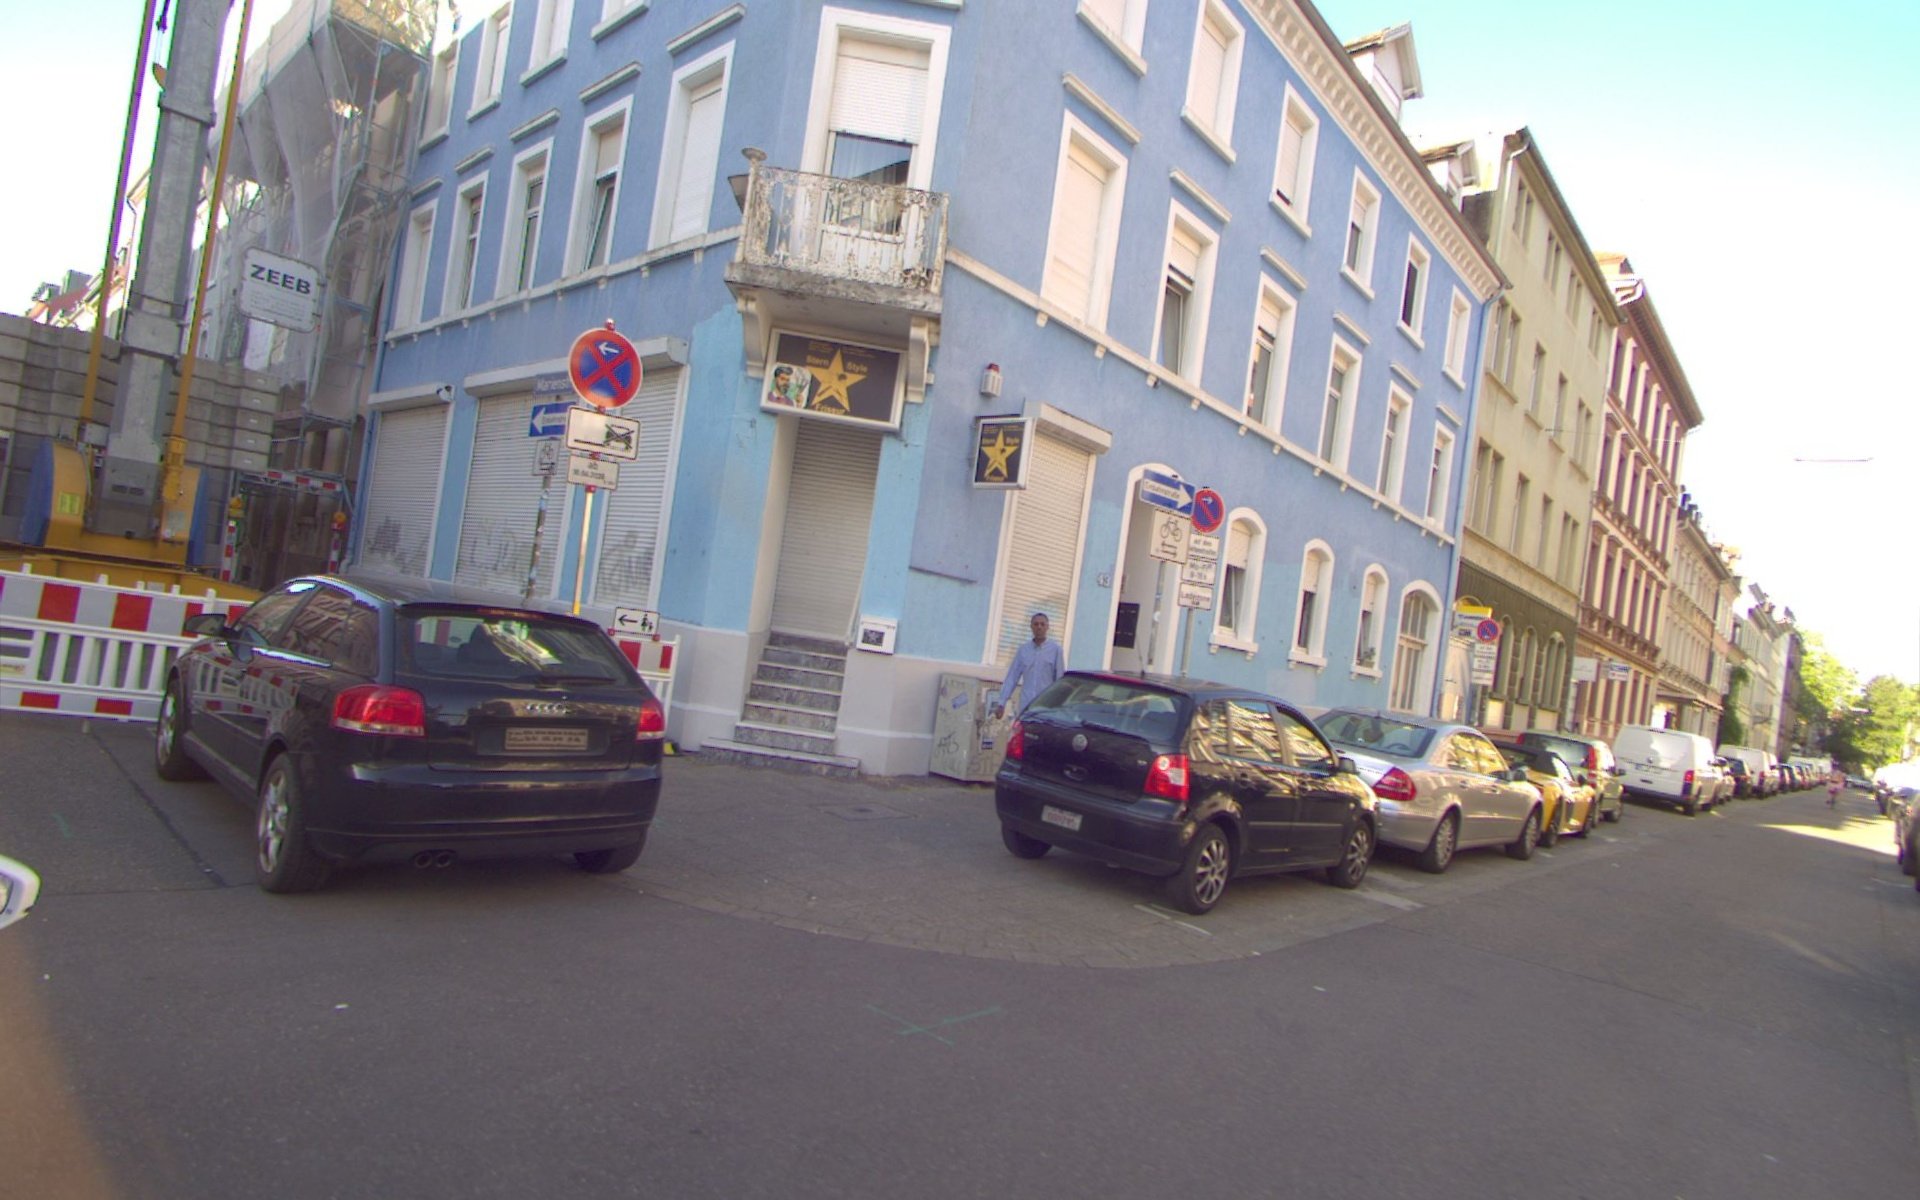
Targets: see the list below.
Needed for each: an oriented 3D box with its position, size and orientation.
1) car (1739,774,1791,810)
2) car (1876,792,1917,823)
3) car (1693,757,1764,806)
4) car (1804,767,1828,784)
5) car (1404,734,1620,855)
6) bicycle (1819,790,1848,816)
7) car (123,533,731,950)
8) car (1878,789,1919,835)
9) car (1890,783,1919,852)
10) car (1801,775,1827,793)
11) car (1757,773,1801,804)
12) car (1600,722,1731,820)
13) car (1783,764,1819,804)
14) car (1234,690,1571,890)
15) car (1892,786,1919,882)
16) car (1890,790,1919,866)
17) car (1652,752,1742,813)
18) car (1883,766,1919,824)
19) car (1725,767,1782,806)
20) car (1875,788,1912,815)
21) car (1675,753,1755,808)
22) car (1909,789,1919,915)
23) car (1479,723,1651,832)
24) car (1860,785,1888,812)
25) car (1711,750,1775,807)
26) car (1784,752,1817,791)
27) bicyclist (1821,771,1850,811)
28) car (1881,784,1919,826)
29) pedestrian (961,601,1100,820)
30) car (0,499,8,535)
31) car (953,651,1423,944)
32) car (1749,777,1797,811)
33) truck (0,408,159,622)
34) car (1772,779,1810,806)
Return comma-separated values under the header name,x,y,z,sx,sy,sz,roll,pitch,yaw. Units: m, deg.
name,x,y,z,sx,sy,sz,roll,pitch,yaw
car,41.379,9.829,51.672,1.729,1.528,3.900,3,-6,43
car,56.609,12.510,60.852,1.729,1.528,3.900,3,-6,43
car,29.443,6.942,38.511,1.729,1.569,3.900,3,-6,43
car,89.822,18.418,105.541,1.729,1.528,3.900,3,-6,43
car,8.210,2.809,14.777,1.733,1.241,4.147,6,-3,43
bicycle,36.069,8.369,41.529,0.804,0.912,2.161,7,-4,42
car,-3.312,0.572,5.861,3.979,1.450,1.771,7,-3,43
car,37.132,8.313,39.336,1.729,1.528,3.900,3,-6,43
car,23.936,5.374,24.550,1.729,1.528,3.900,3,-6,43
car,86.485,18.599,101.864,1.729,1.528,3.900,3,-6,43
car,49.202,11.288,60.393,1.729,1.528,3.900,3,-6,43
car,17.879,4.325,25.396,1.812,1.968,4.532,8,-2,45
car,60.691,13.272,72.562,1.729,2.603,3.900,3,-5,43
car,4.971,2.009,10.928,1.734,1.450,4.464,9,-1,45
car,17.673,4.187,17.740,1.729,1.528,3.900,3,-6,43
car,21.148,4.936,21.557,1.729,1.468,3.900,3,-6,43
car,22.604,5.567,30.784,1.729,1.528,3.900,3,-6,43
car,45.113,9.264,47.762,1.822,2.457,3.900,3,-6,43
car,37.163,8.709,47.074,1.729,1.528,3.900,3,-6,43
car,63.849,13.761,68.817,1.729,1.528,3.900,3,-6,43
car,25.827,6.155,34.369,1.729,1.528,3.900,3,-6,43
car,13.821,3.407,13.300,1.729,1.528,3.900,3,-6,43
car,11.386,3.309,18.827,1.734,1.493,3.963,9,-1,45
car,81.619,17.706,89.840,1.729,2.112,3.900,3,-6,43
car,33.127,7.549,42.521,1.729,2.075,3.900,3,-6,43
car,69.985,14.294,83.746,1.729,2.946,4.175,3,-5,43
bicyclist,36.177,7.873,41.568,0.754,1.487,1.000,7,-3,42
car,40.734,8.803,43.172,1.729,1.528,3.900,3,-6,43
pedestrian,0.669,1.023,9.396,0.767,1.869,0.771,7,-2,33
car,-43.800,-3.837,44.738,3.946,1.540,1.813,6,0,43
car,1.941,1.413,7.692,1.654,1.470,3.864,7,-3,43
car,44.848,10.680,55.465,1.729,1.528,3.900,3,-6,43
truck,-16.208,-1.535,17.213,7.295,2.844,2.659,6,-3,44
car,56.517,13.071,68.419,1.729,1.528,3.900,3,-6,43
